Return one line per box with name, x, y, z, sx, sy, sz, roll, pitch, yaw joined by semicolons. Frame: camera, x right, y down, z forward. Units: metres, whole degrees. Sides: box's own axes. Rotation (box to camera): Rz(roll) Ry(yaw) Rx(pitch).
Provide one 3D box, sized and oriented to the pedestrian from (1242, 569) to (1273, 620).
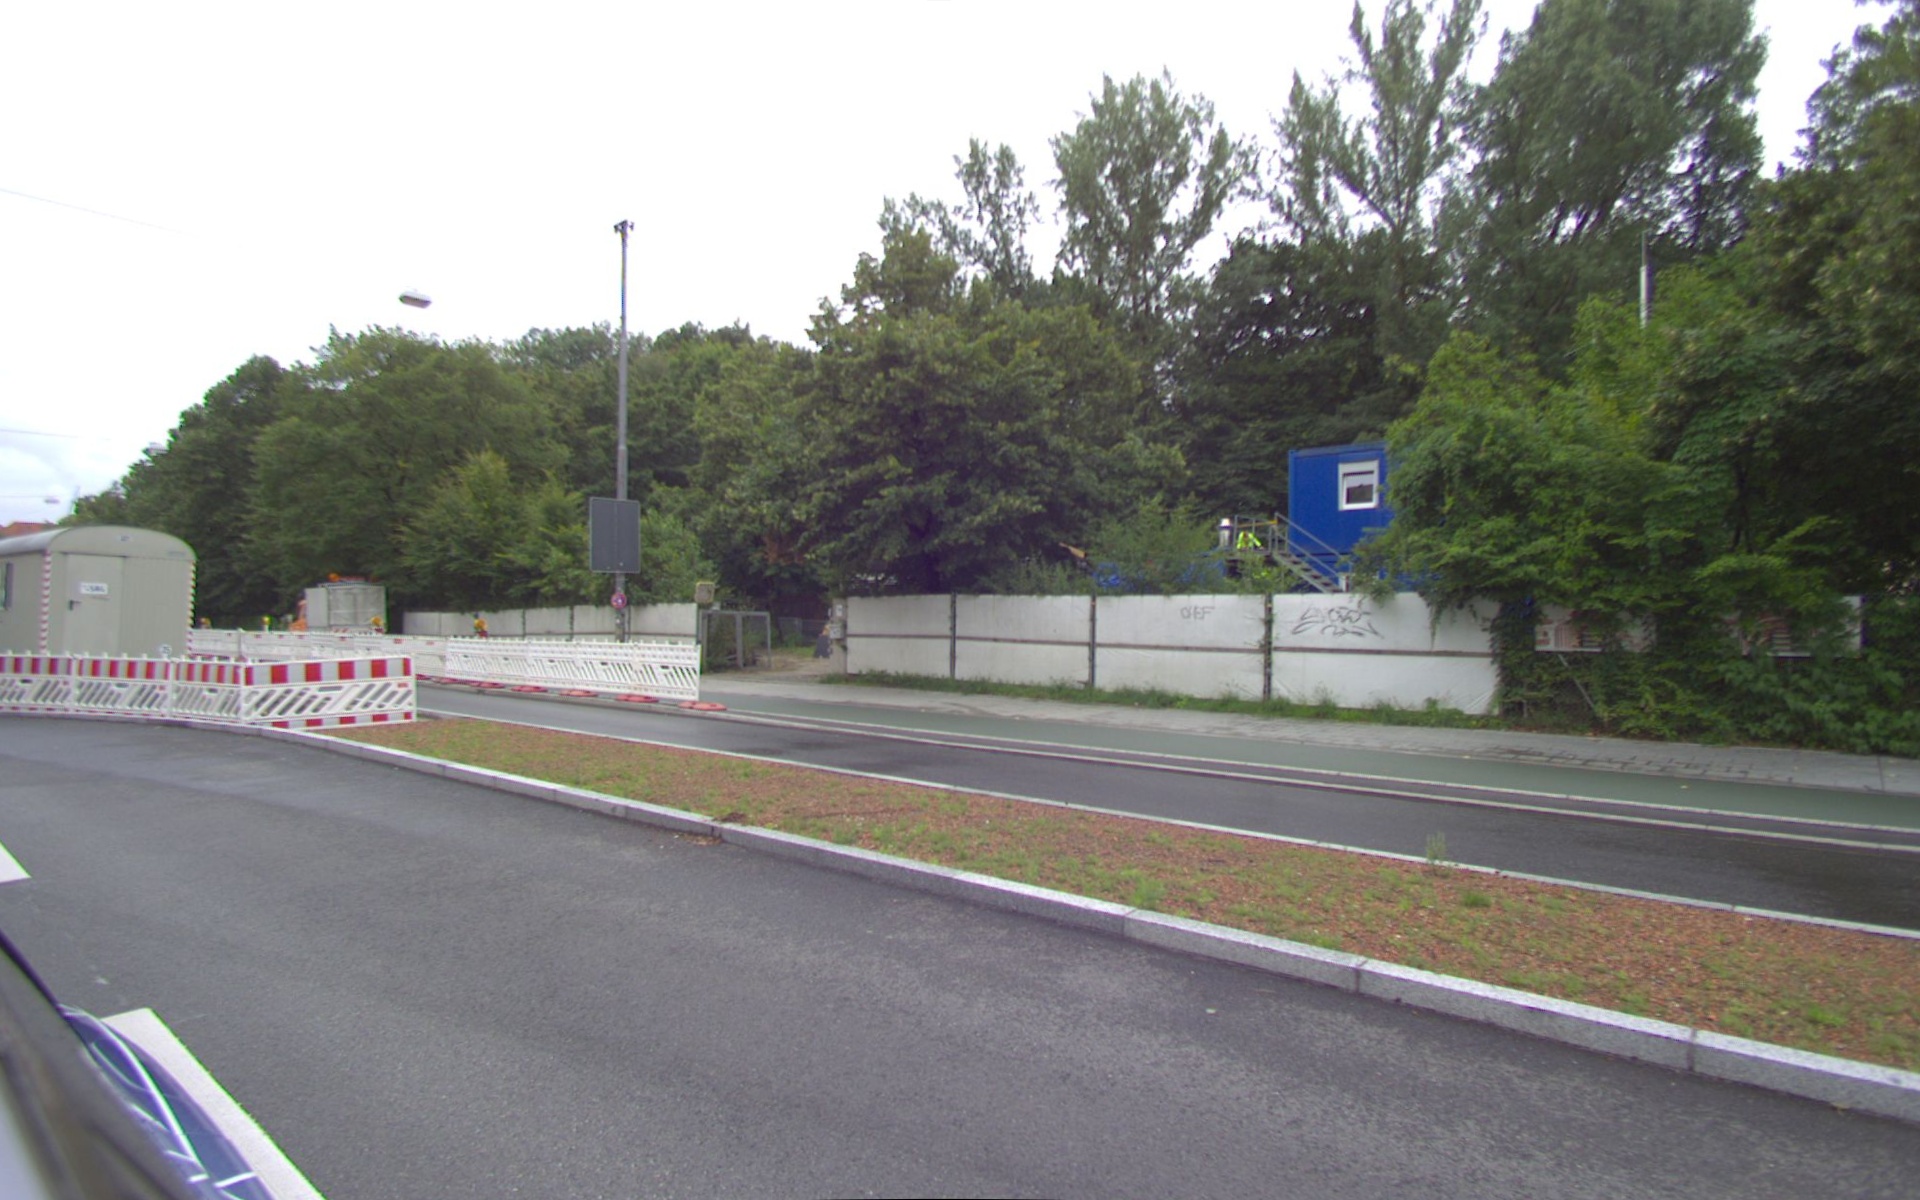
pedestrian;10.692;-0.185;36.357;0.832;1.788;0.786;-1;-2;37
